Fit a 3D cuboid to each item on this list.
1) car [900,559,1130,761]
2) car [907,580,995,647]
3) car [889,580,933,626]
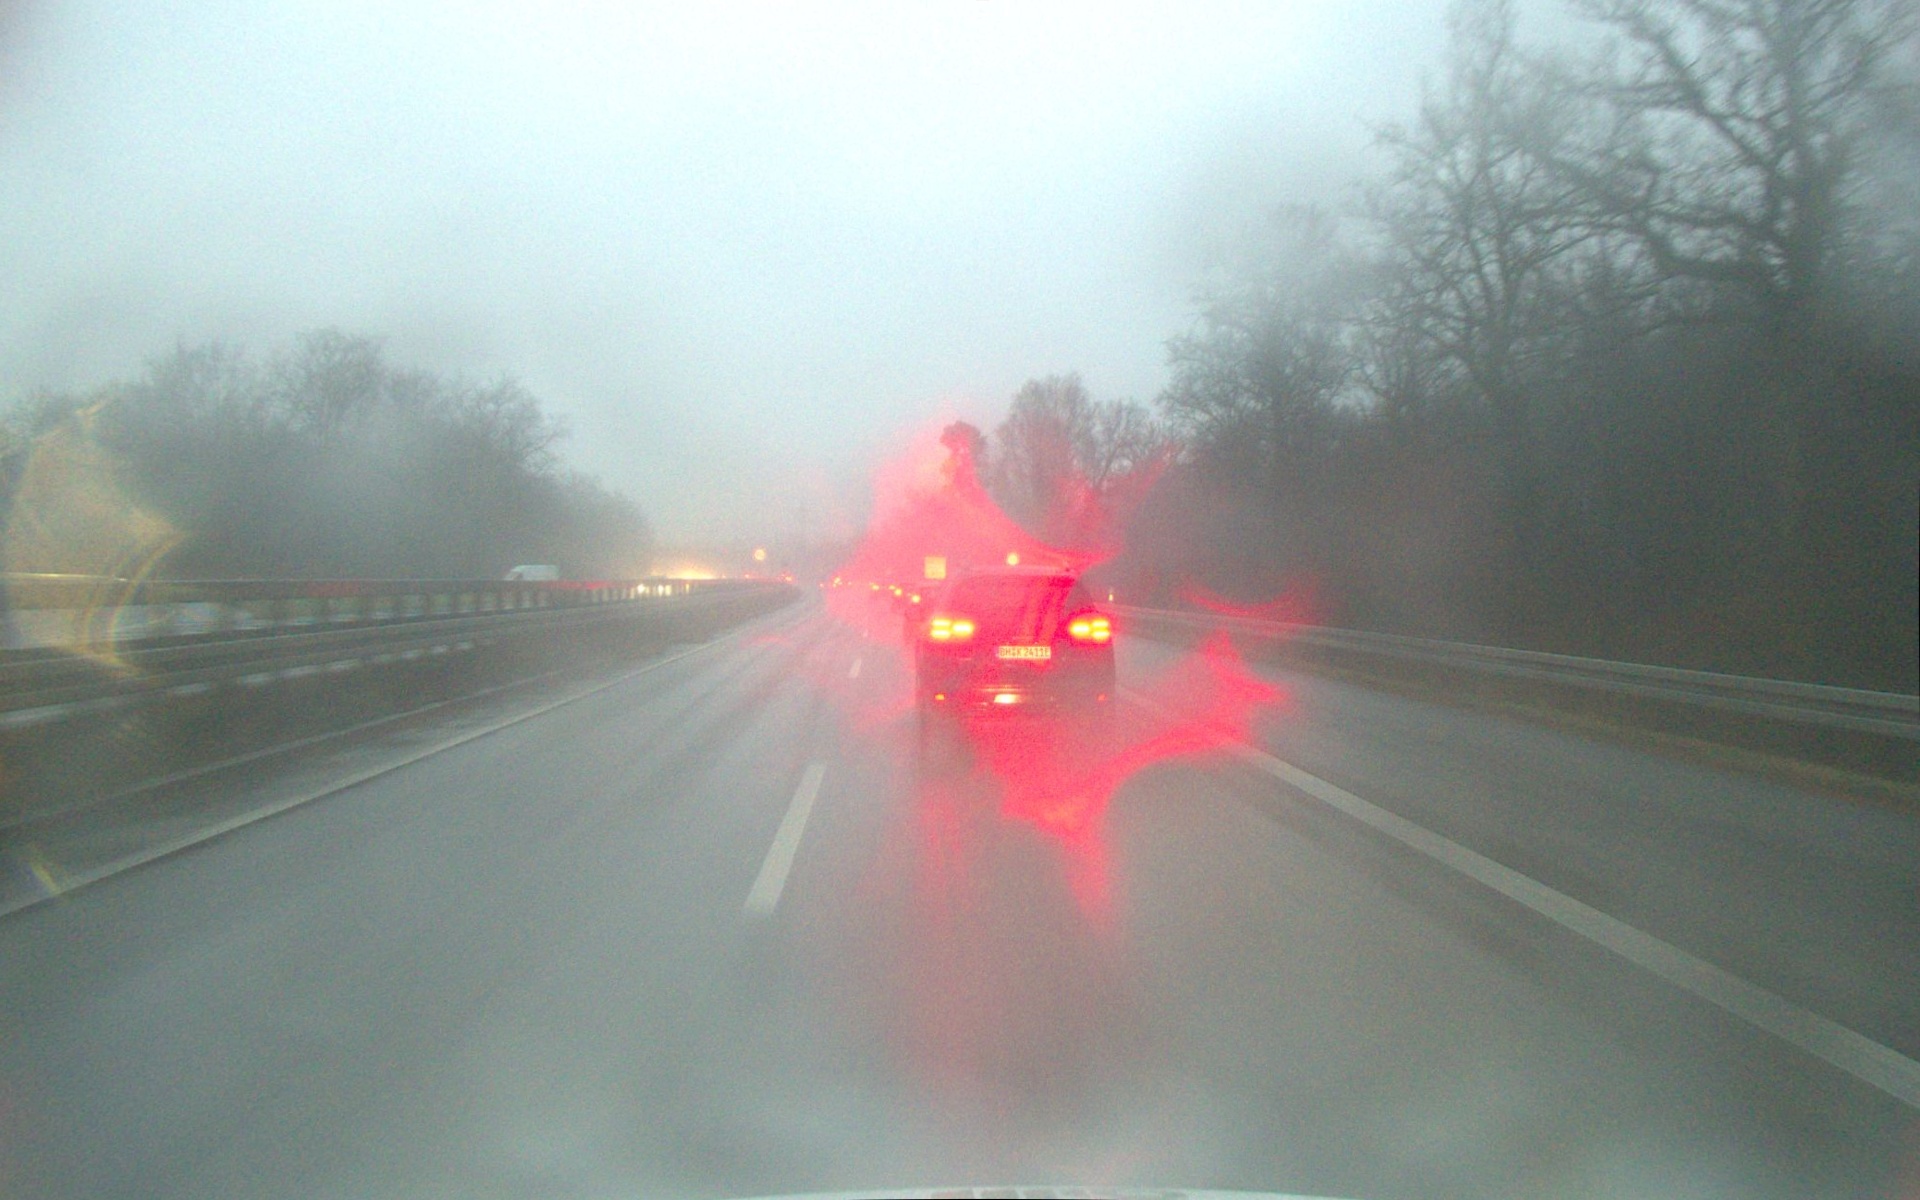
[{"bbox_3d":[0.415,0.513,16.319,1.952,1.745,3.828,0,0,-3],"label":"car"},{"bbox_3d":[-0.202,0.304,39.633,1.953,1.445,4.000,2,0,0],"label":"car"},{"bbox_3d":[-2.254,0.130,75.559,1.953,2.049,3.998,0,0,-2],"label":"car"}]
